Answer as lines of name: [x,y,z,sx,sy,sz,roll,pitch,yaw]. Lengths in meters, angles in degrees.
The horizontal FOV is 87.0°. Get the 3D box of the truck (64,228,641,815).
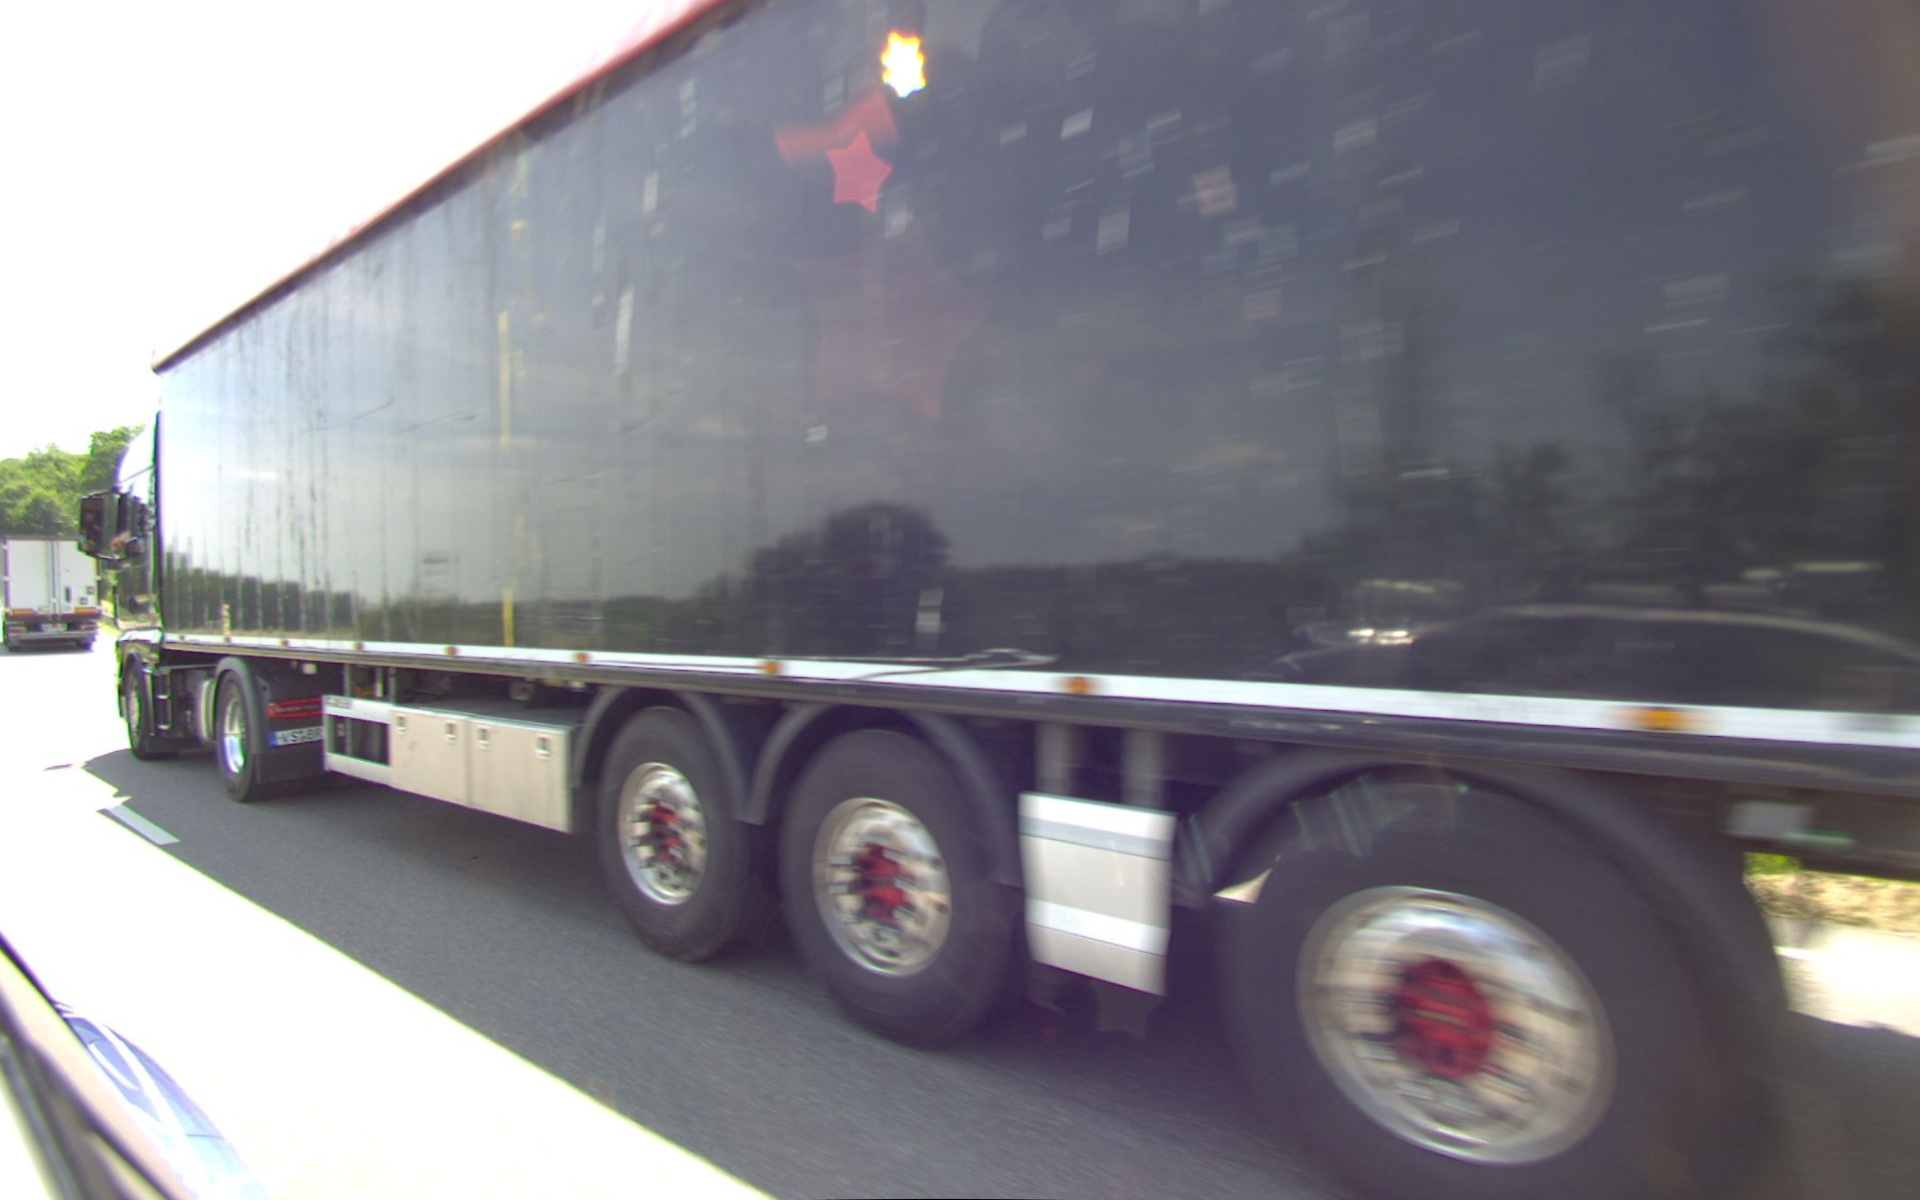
truck: [-6.622,-0.514,10.591,6.646,4.181,3.208,-1,-1,40]

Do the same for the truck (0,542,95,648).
truck: [-40.857,-0.230,44.886,3.335,4.434,5.449,-1,1,-45]

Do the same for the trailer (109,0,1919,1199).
trailer: [-1.812,-0.625,6.498,14.432,4.181,3.208,-1,-1,40]

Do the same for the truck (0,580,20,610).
truck: [-153.952,-0.758,163.142,3.138,4.552,13.330,-2,2,-44]

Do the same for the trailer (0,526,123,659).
trailer: [-35.819,-0.227,39.762,3.335,4.434,13.755,-1,0,-44]
